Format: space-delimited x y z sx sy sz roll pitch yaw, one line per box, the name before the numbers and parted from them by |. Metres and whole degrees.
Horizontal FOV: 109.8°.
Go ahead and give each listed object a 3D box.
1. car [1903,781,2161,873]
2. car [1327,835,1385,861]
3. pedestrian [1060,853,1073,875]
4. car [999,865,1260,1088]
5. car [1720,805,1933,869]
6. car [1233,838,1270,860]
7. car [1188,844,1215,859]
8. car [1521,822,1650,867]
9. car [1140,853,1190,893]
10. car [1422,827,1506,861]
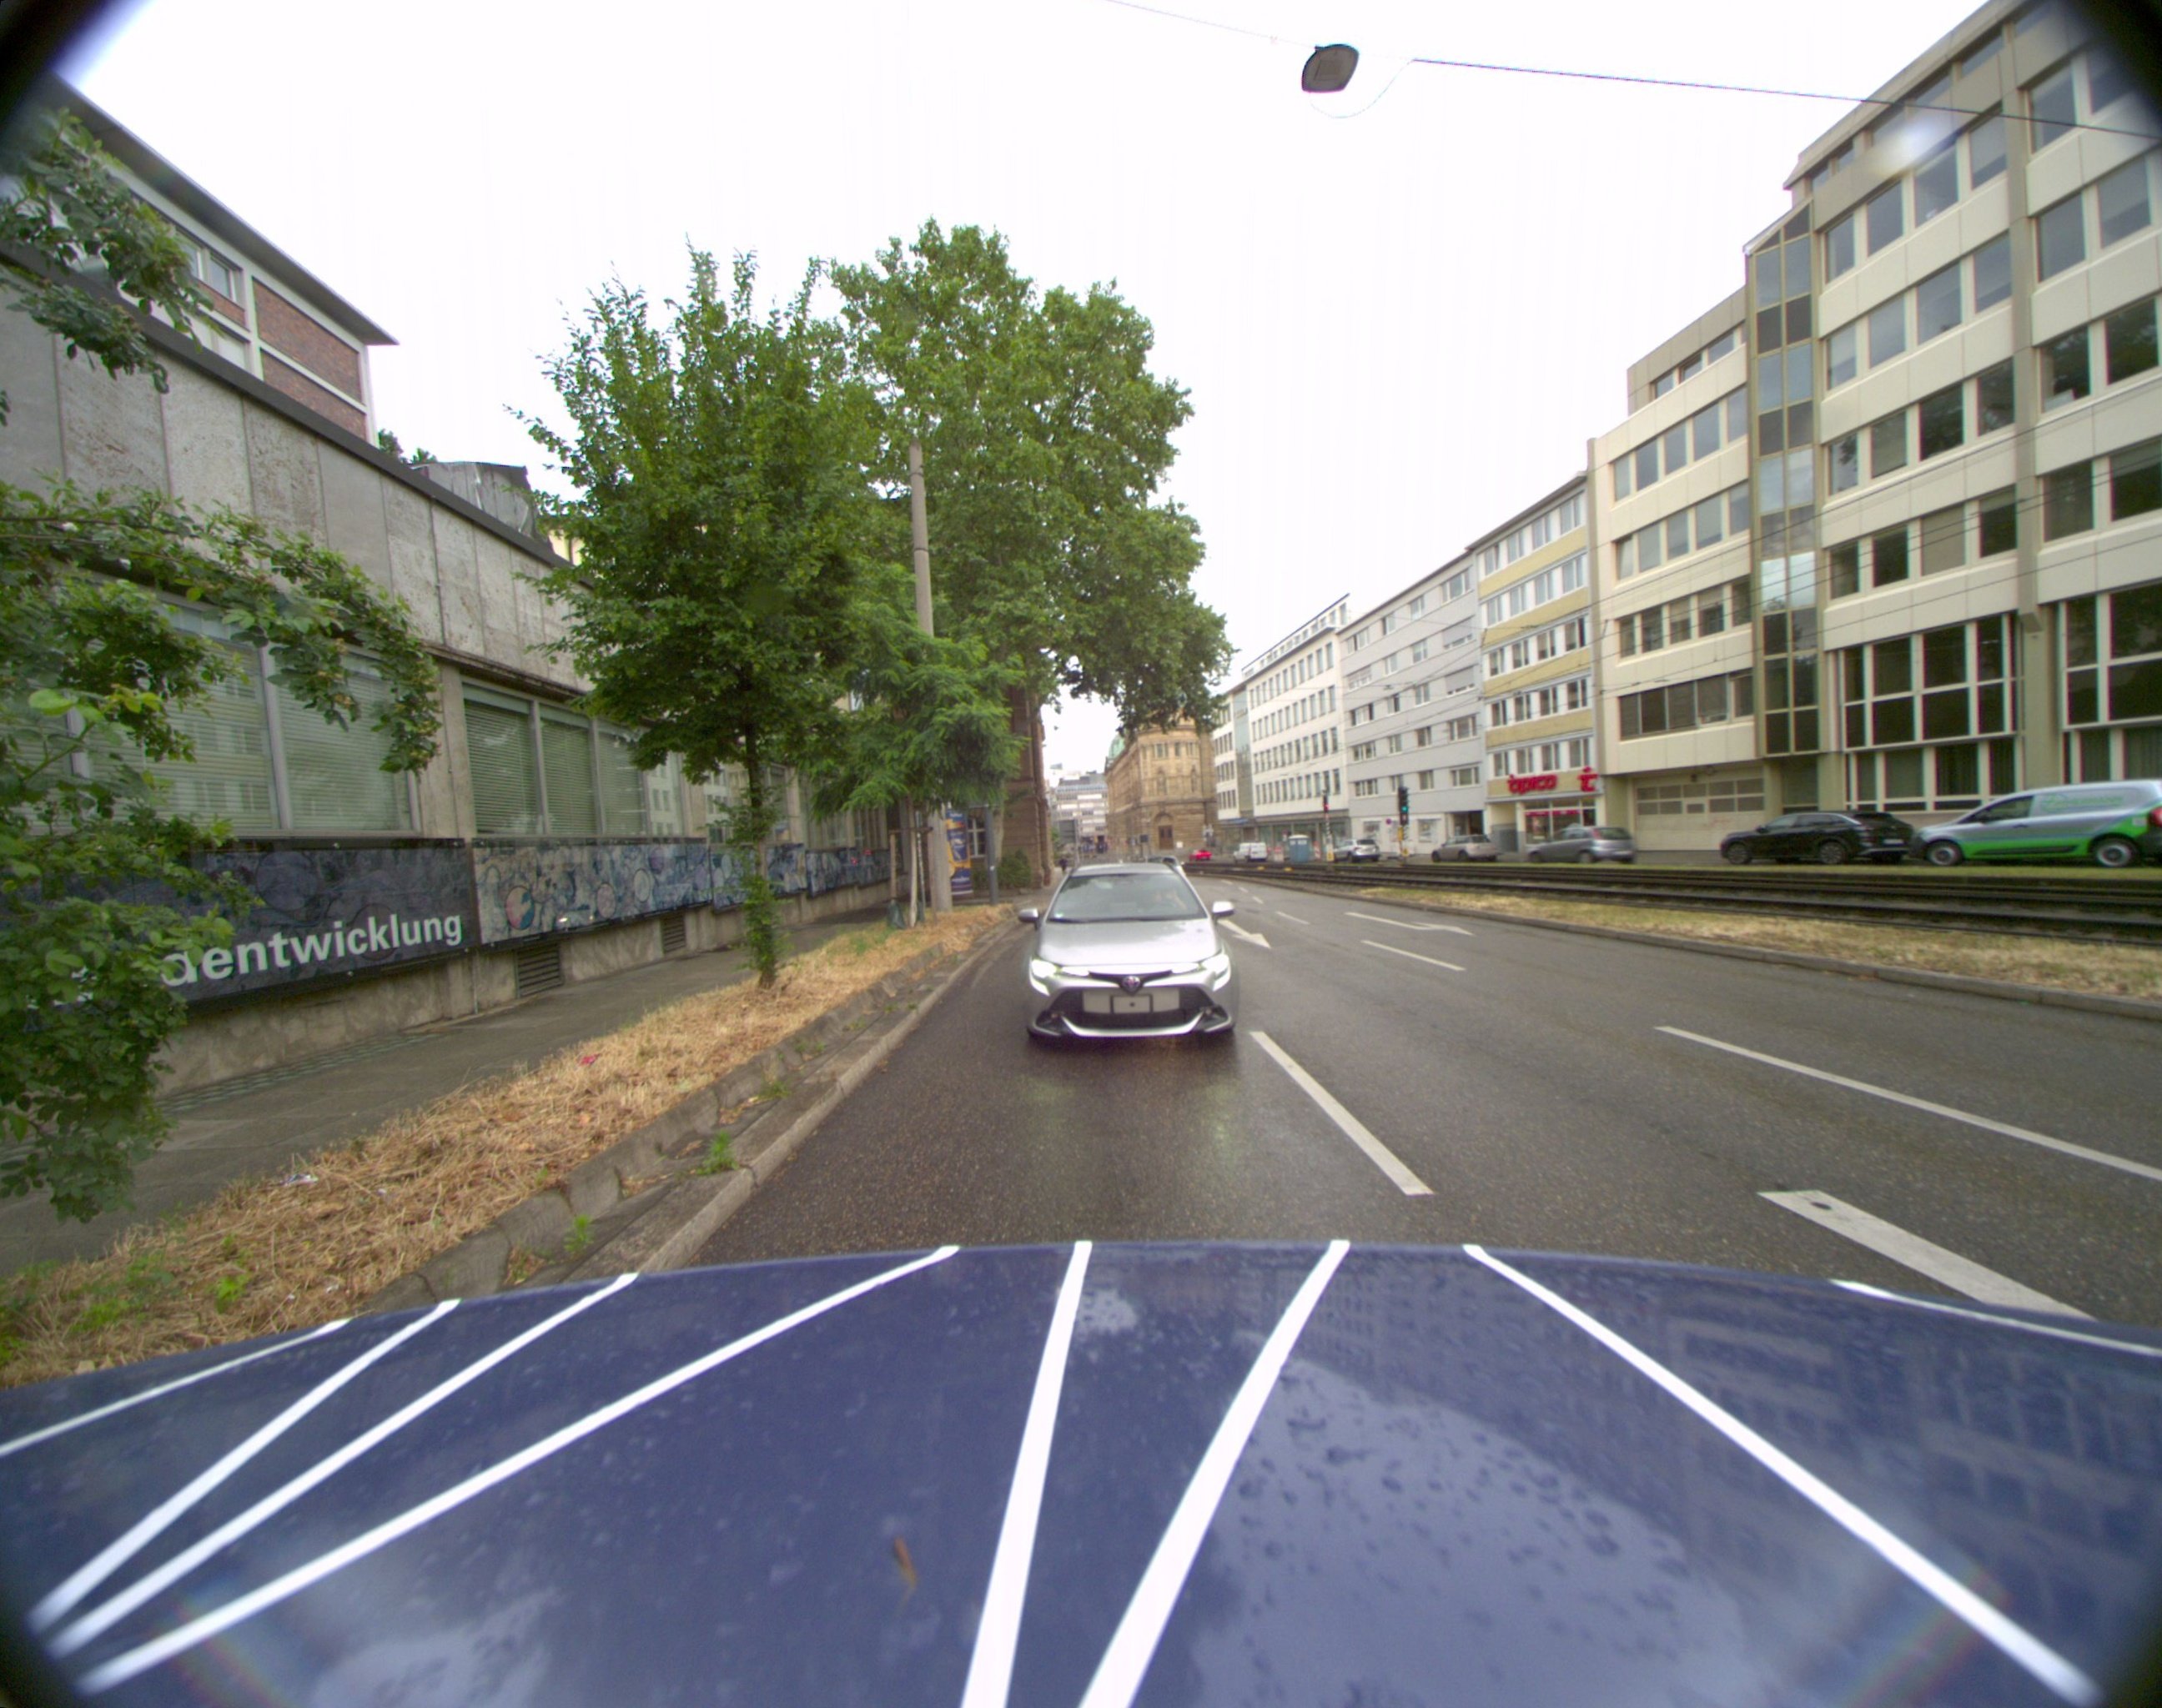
car | 21.509 -0.575 16.786 1.801 1.736 4.213 -5 1 -8
car | 18.170 -0.406 50.427 1.890 1.505 4.075 -5 1 -7
pedestrian | -1.103 0.753 57.766 0.719 1.630 0.760 -5 2 10
car | 0.369 0.909 7.573 1.811 1.426 4.297 -2 1 0
car | 21.071 -0.459 21.748 1.801 1.505 4.075 -5 1 -7
car | 16.327 -0.484 72.930 1.890 1.924 4.474 -5 1 -7
car | 14.547 -0.346 92.085 1.890 1.615 4.474 -5 1 -7
car | 17.726 -0.307 26.938 1.632 1.349 3.869 -4 1 -6
car | 3.368 0.732 31.053 1.654 1.426 3.439 -2 1 0
car | 19.495 -0.485 38.883 1.801 1.505 4.075 -5 1 -7
